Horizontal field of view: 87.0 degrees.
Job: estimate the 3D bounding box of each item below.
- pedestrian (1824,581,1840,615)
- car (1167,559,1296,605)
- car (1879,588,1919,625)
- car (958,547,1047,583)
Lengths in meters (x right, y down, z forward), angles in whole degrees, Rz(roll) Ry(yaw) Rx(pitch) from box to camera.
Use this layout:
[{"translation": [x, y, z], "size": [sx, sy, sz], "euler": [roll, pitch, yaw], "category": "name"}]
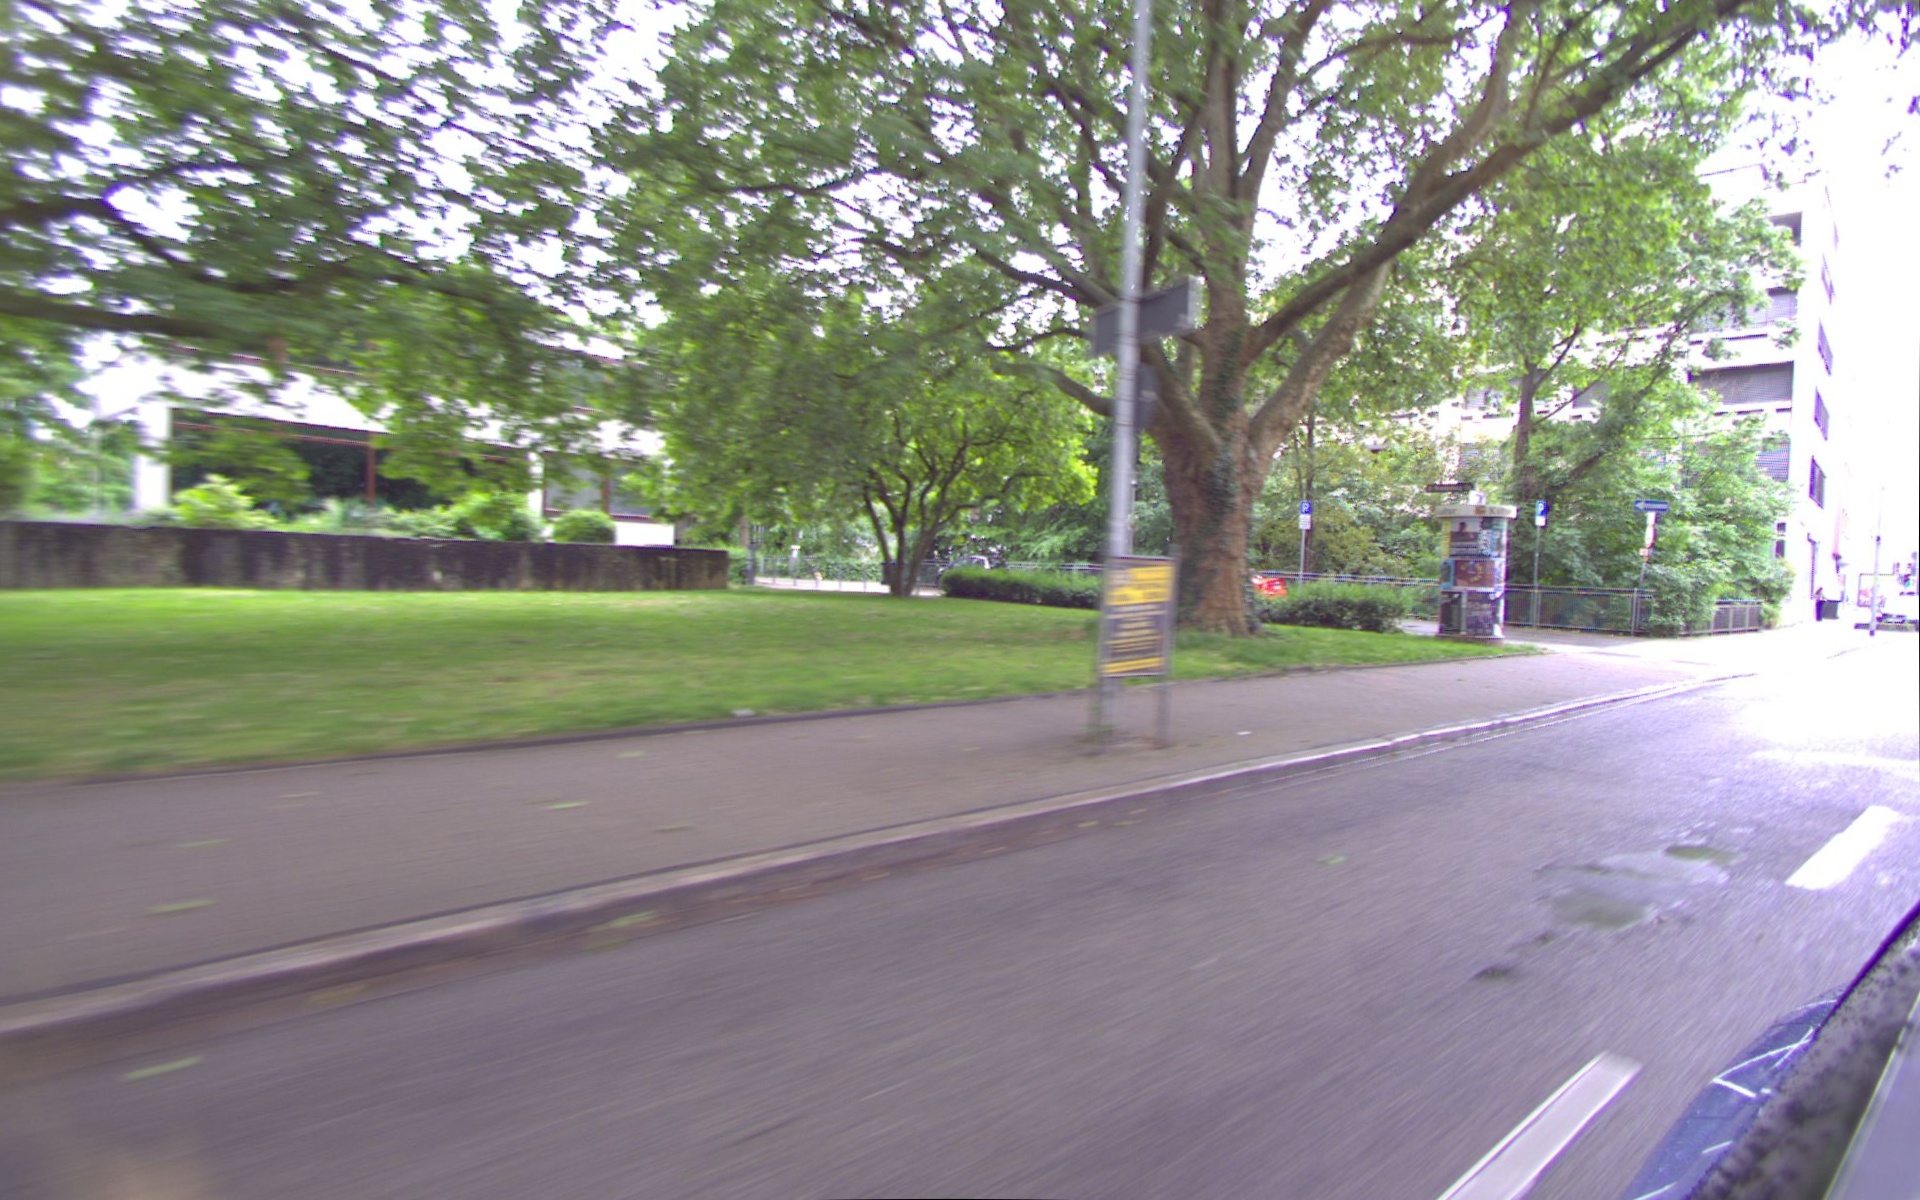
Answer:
[{"translation": [40.099, -0.099, 46.535], "size": [0.473, 1.549, 0.480], "euler": [0, 0, -41], "category": "pedestrian"}, {"translation": [8.851, -0.632, 33.160], "size": [1.551, 1.294, 3.784], "euler": [-1, 4, -44], "category": "car"}, {"translation": [41.251, 0.284, 43.780], "size": [3.618, 1.449, 1.681], "euler": [0, 6, -41], "category": "car"}, {"translation": [1.681, -1.424, 40.584], "size": [3.460, 1.294, 1.426], "euler": [5, 4, 44], "category": "car"}]
